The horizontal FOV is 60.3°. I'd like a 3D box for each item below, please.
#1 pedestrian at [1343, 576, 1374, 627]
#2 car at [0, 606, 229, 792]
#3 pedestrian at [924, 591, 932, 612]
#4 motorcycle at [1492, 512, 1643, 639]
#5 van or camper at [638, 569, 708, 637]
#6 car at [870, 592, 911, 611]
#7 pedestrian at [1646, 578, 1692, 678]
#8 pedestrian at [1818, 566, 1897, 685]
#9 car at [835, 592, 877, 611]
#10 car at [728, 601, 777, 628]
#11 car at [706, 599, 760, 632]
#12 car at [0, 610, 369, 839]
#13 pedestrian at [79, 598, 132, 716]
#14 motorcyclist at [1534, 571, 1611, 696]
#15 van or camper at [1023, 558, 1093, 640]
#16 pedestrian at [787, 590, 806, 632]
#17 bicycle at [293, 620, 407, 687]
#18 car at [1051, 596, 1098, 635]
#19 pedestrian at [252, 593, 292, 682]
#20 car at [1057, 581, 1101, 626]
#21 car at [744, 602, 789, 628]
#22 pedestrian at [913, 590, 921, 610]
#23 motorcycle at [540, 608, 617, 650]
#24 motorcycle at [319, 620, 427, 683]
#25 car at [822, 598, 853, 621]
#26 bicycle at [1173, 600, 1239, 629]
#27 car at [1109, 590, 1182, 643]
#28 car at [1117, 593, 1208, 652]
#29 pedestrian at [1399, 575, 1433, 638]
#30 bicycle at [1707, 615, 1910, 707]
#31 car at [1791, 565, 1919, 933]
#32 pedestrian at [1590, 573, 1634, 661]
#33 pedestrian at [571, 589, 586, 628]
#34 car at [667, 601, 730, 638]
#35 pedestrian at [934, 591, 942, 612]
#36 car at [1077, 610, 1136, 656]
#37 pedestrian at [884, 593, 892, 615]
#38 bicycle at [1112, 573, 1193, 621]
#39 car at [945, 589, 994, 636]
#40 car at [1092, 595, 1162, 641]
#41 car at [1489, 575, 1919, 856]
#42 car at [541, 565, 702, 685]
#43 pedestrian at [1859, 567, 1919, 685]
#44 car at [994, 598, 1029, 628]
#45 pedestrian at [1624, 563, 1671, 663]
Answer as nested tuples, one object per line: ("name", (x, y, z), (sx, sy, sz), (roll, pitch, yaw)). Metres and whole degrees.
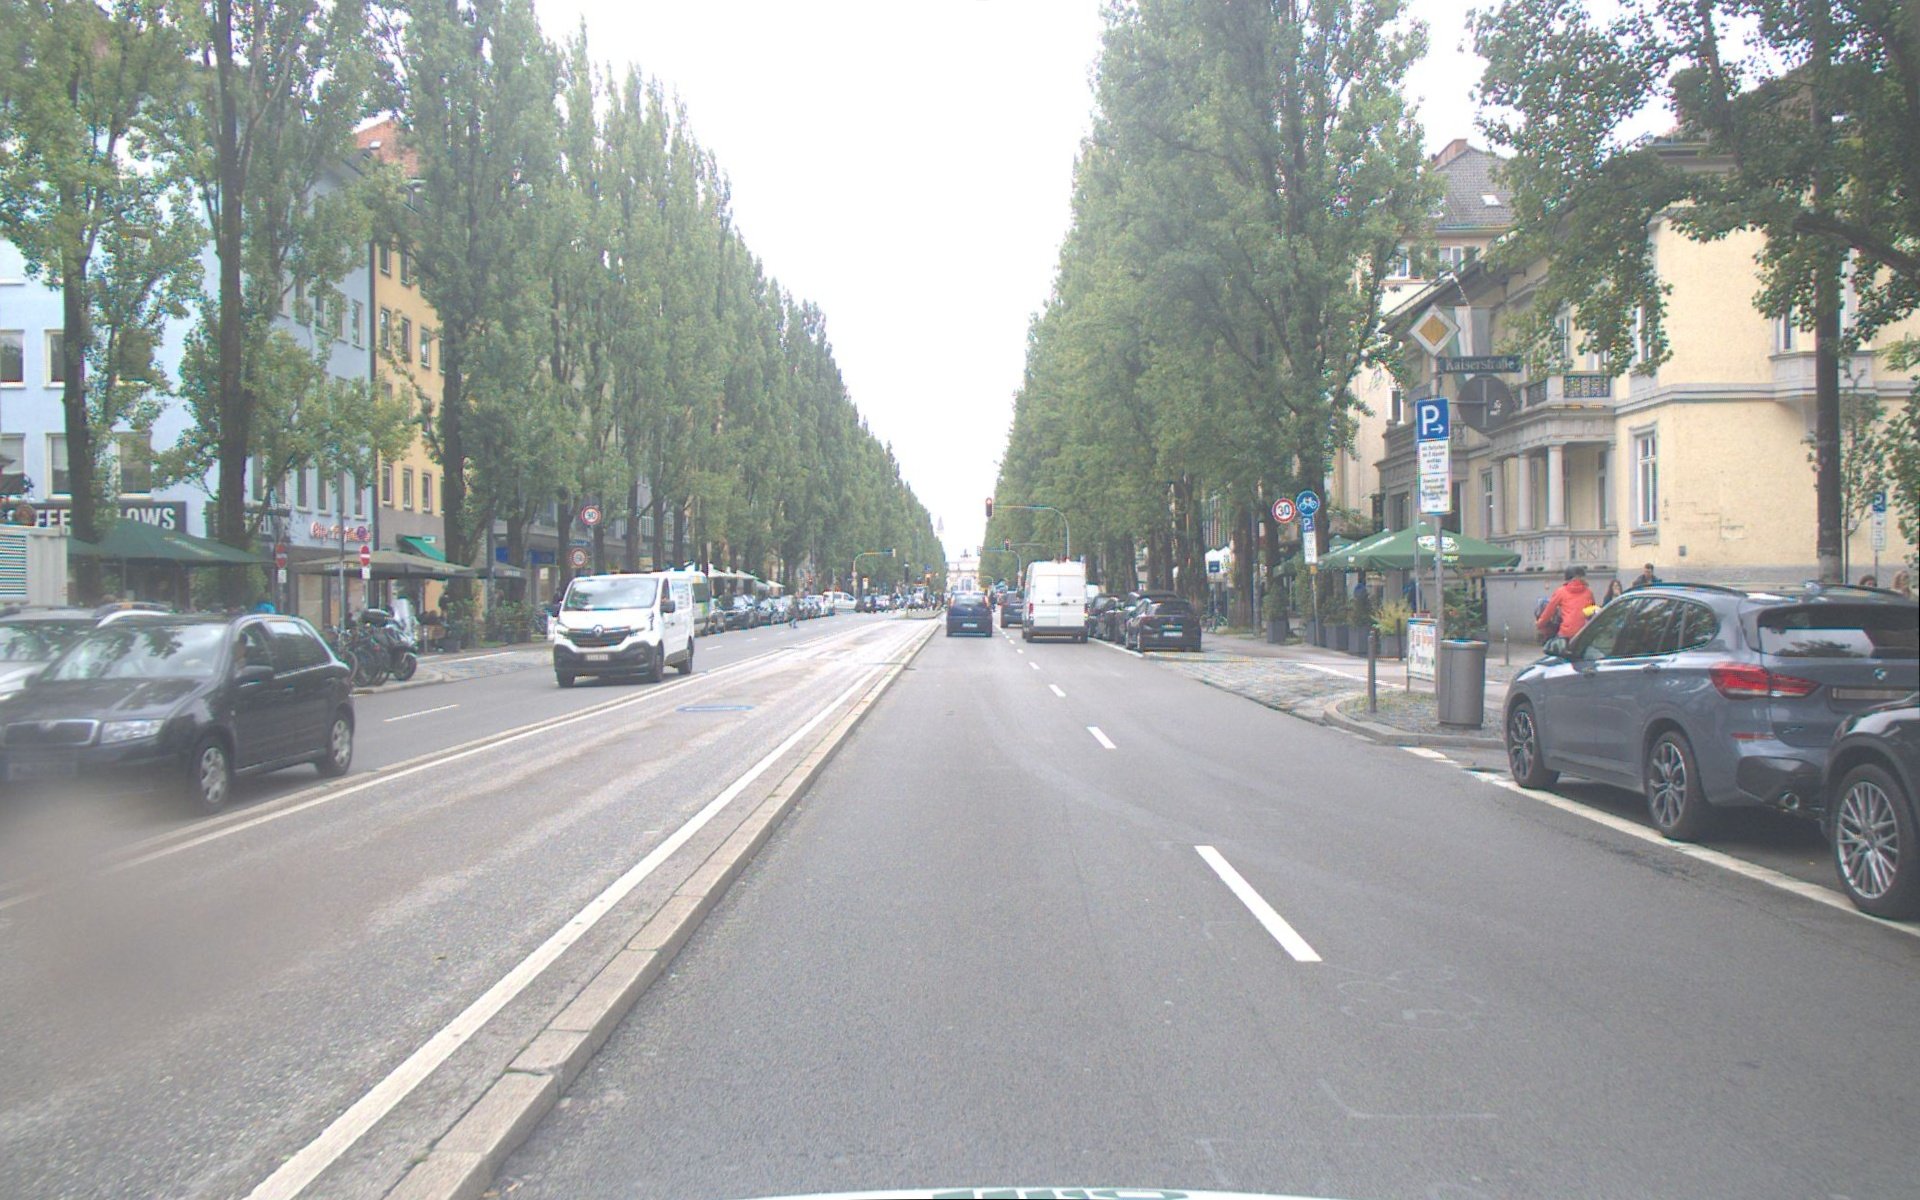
("pedestrian", (14.221, 0.054, 58.986), (0.798, 1.786, 0.931), (-2, 0, 32))
("car", (-8.812, 0.886, 15.926), (1.789, 1.559, 3.999), (-2, -1, -1))
("pedestrian", (-2.660, 0.146, 137.315), (0.542, 1.746, 0.493), (-2, 0, 0))
("motorcycle", (7.169, -0.279, 19.663), (0.810, 1.394, 2.251), (-2, 0, -4))
("van or camper", (-11.031, 0.102, 63.779), (1.953, 2.501, 4.251), (-1, 0, 0))
("car", (-6.752, 0.159, 160.984), (3.910, 1.775, 1.997), (0, -1, -6))
("pedestrian", (12.103, 0.471, 28.227), (0.655, 1.679, 0.625), (-1, 0, 27))
("pedestrian", (12.735, 0.353, 23.481), (0.672, 1.656, 0.776), (-1, 0, -3))
("car", (-9.973, 0.109, 158.469), (3.912, 1.775, 1.996), (0, -1, -8))
("car", (-11.328, 0.815, 90.653), (1.952, 1.445, 4.001), (0, -1, 3))
("car", (-10.926, 0.746, 79.760), (1.952, 1.512, 4.000), (0, -1, 1))
("car", (-6.051, 0.838, 12.744), (1.677, 1.438, 3.722), (-1, 0, -1))
("pedestrian", (-12.689, 0.836, 24.572), (0.471, 1.731, 0.575), (-1, 0, -1))
("motorcyclist", (7.247, 0.387, 19.599), (0.553, 1.431, 0.765), (-2, 0, -4))
("van or camper", (3.142, 0.013, 53.673), (1.993, 2.519, 3.999), (-1, -1, 0))
("pedestrian", (-7.914, 0.530, 80.046), (0.792, 2.049, 0.720), (-1, 0, 4))
("bicycle", (-11.100, 0.960, 30.138), (1.821, 1.156, 0.673), (-1, 0, -5))
("car", (4.902, 0.681, 71.441), (1.726, 1.624, 3.999), (0, -1, 0))
("pedestrian", (-14.234, 0.764, 34.235), (0.654, 1.818, 0.826), (1, -1, -16))
("car", (5.545, 0.195, 77.534), (1.768, 2.027, 3.999), (0, -1, 0))
("car", (-11.191, 0.881, 95.887), (1.952, 1.445, 4.001), (0, -1, 3))
("pedestrian", (-4.604, -0.010, 177.160), (0.754, 2.049, 0.897), (0, -1, -1))
("motorcycle", (-11.546, 0.860, 50.234), (1.212, 1.160, 3.719), (-1, 0, 5))
("motorcycle", (-11.314, 0.981, 31.914), (1.821, 1.156, 0.673), (-1, 0, -5))
("car", (-9.314, 0.723, 125.630), (1.779, 1.558, 3.799), (-4, -1, 3))
("bicycle", (9.017, 0.518, 60.779), (0.752, 1.041, 2.701), (-1, 0, -35))
("car", (5.661, 0.481, 50.754), (1.748, 1.551, 3.940), (-1, 0, 0))
("car", (5.499, 0.584, 45.310), (1.904, 1.493, 3.999), (-1, 0, -1))
("pedestrian", (13.811, 0.197, 50.089), (0.745, 1.886, 0.740), (-1, 0, -3))
("bicycle", (10.040, 0.713, 19.627), (2.010, 1.041, 0.691), (-1, 0, 7))
("car", (5.268, 0.661, 6.305), (1.842, 1.670, 4.582), (-1, 0, -1))
("pedestrian", (12.592, 0.320, 31.945), (0.634, 1.675, 0.766), (0, -1, 9))
("pedestrian", (-18.425, 0.402, 79.923), (0.570, 1.889, 0.675), (-1, 0, -1))
("car", (-11.067, 0.826, 70.267), (1.952, 1.501, 4.000), (0, -1, 1))
("pedestrian", (-1.848, 0.087, 138.552), (0.542, 1.746, 0.493), (-2, 0, 0))
("car", (5.306, 1.177, 60.158), (1.768, 1.624, 3.999), (0, -1, 0))
("pedestrian", (-5.943, 0.319, 136.611), (0.542, 1.746, 0.493), (-2, 0, 0))
("bicycle", (8.403, -0.118, 72.213), (3.473, 2.049, 1.298), (0, -1, 9))
("car", (0.352, 0.454, 60.022), (1.723, 1.648, 3.747), (0, -1, 0))
("car", (5.603, 0.627, 55.926), (1.953, 1.490, 3.999), (0, -1, 0))
("car", (5.278, 0.651, 11.717), (1.590, 1.592, 4.370), (-1, 0, -1))
("car", (-6.214, 0.454, 30.959), (1.953, 1.967, 4.917), (-3, 0, 0))
("pedestrian", (13.435, 0.359, 23.672), (0.672, 1.656, 0.776), (-1, 0, -3))
("car", (2.324, 0.576, 74.963), (1.473, 1.336, 3.283), (-1, 0, 0))
("pedestrian", (13.357, 0.252, 32.157), (0.686, 1.905, 0.766), (0, -1, 9))
